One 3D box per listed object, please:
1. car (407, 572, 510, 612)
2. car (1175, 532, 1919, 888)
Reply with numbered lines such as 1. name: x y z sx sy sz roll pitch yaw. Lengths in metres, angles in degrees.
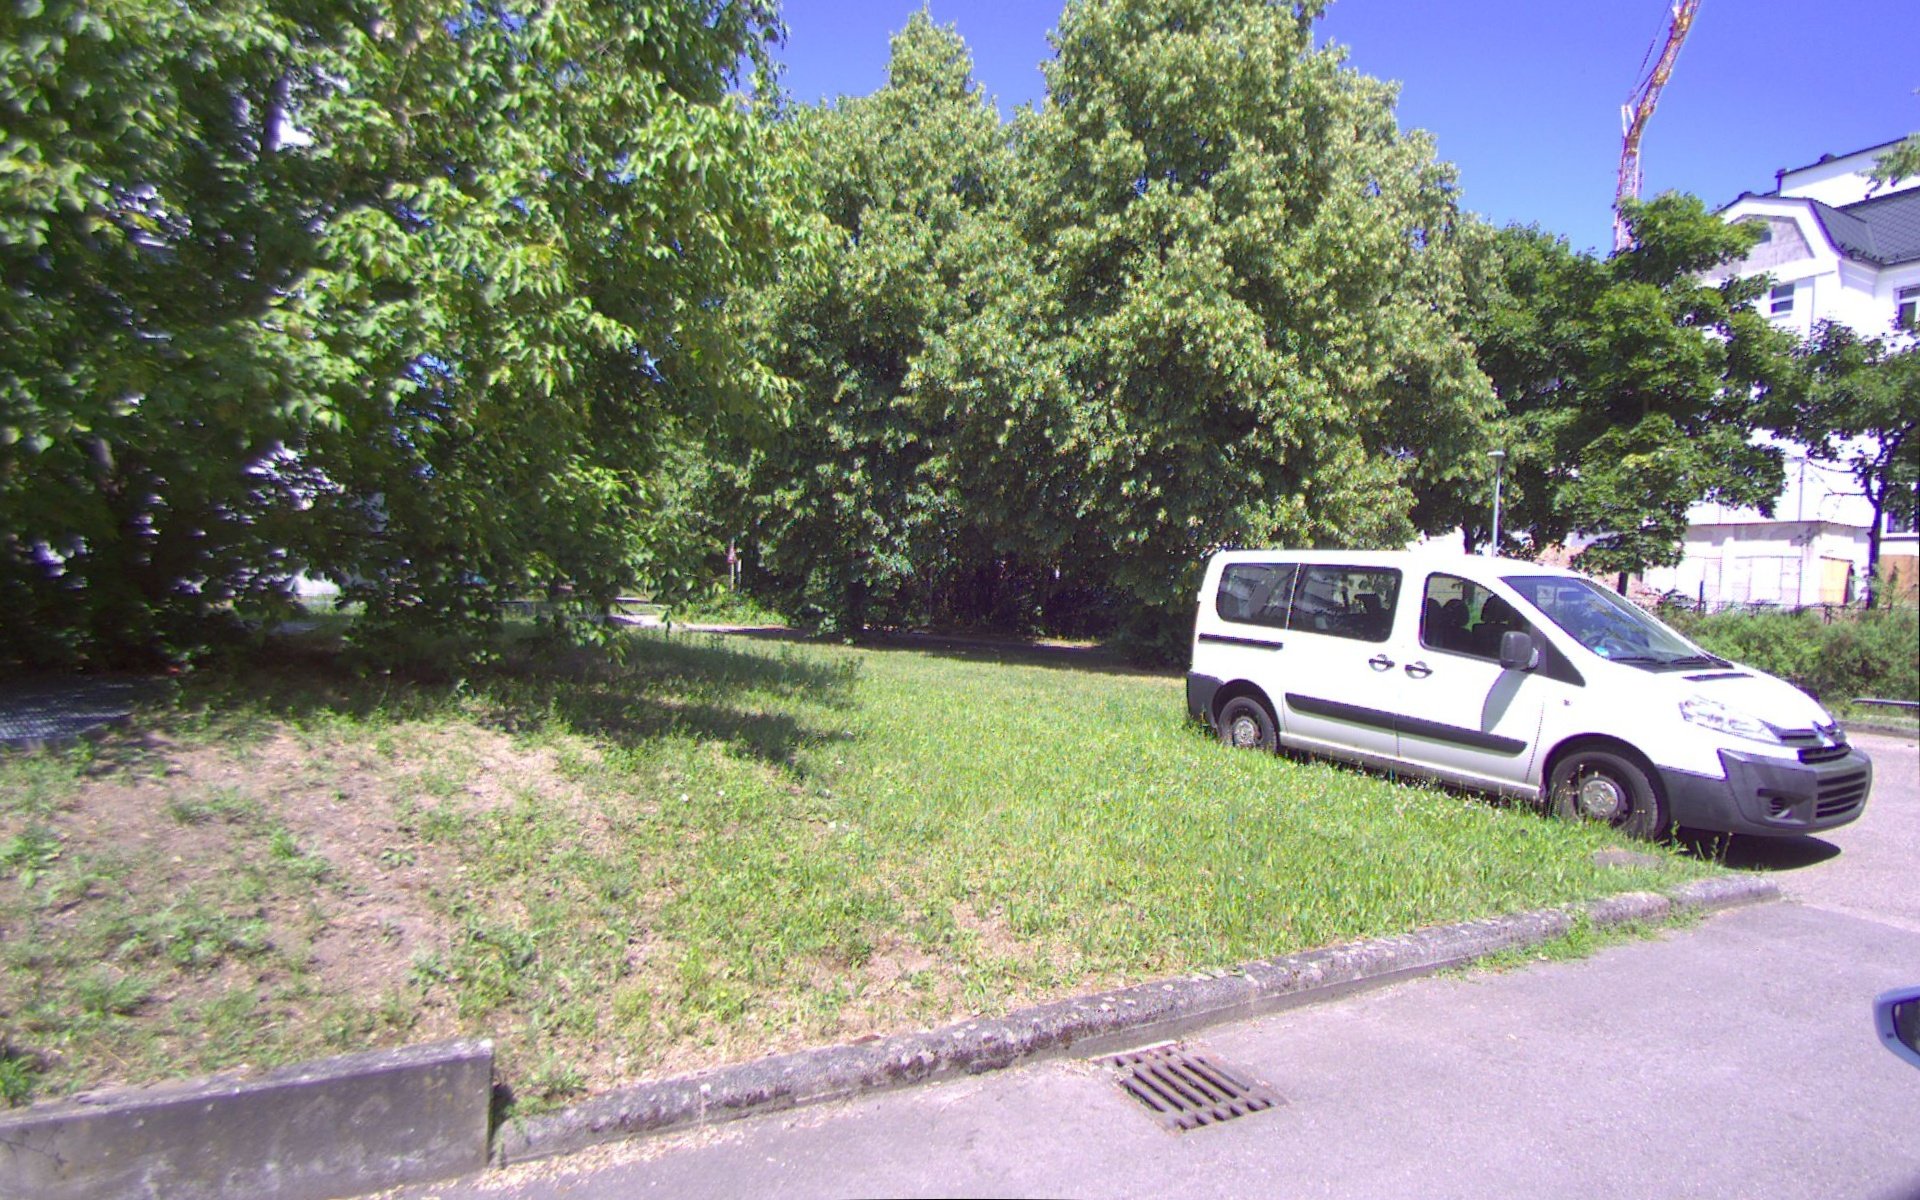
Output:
1. car: -23.364 -0.362 46.807 4.122 1.639 1.960 3 0 -30
2. car: 4.146 0.581 8.028 1.978 1.937 4.762 2 0 -32
